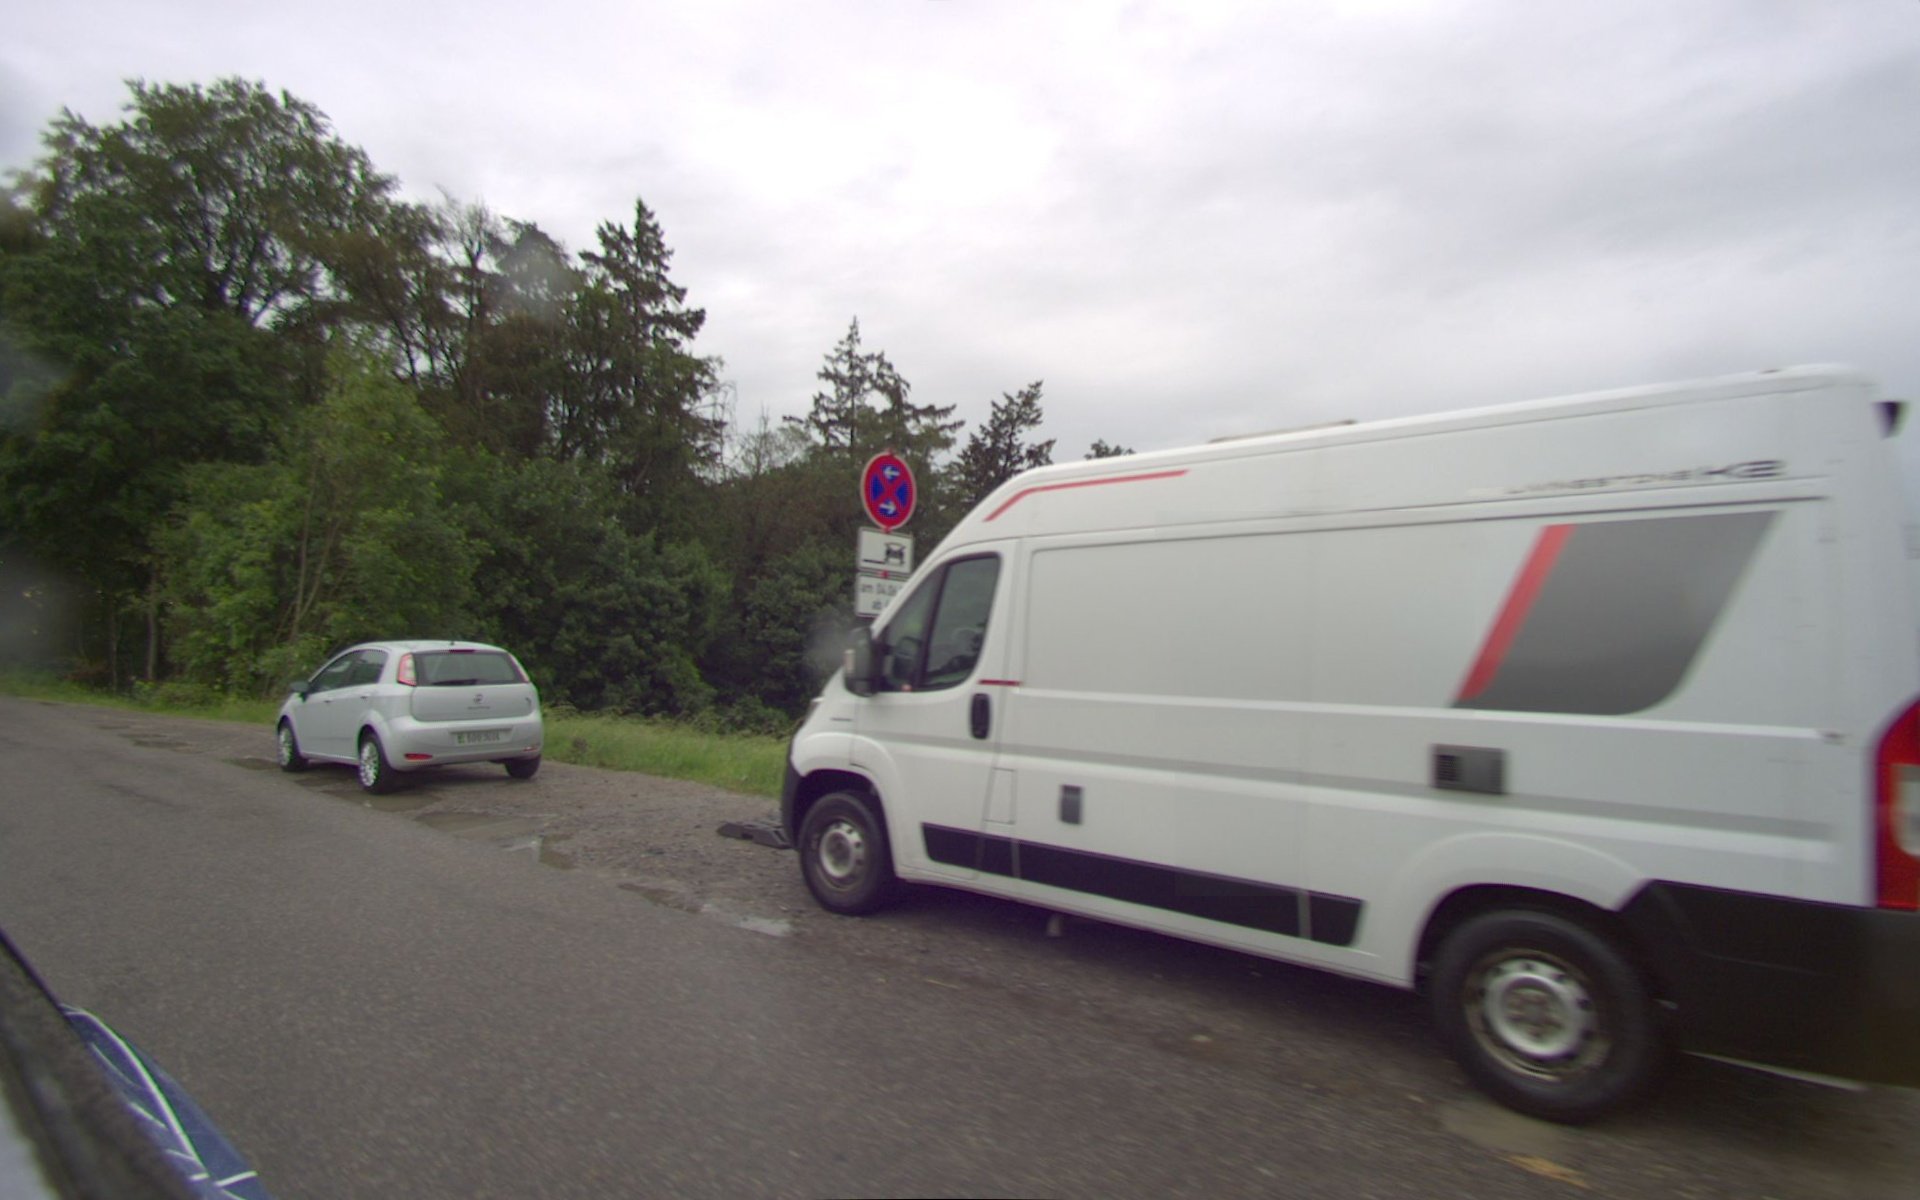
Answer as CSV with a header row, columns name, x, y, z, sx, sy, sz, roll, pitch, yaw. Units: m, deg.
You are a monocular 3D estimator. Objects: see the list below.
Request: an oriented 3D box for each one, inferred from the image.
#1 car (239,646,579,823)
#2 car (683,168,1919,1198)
name,x,y,z,sx,sy,sz,roll,pitch,yaw
car,-6.324,1.377,11.398,4.492,1.608,1.842,-3,-6,40
car,1.352,0.386,5.162,6.044,2.718,2.249,-4,-7,40
